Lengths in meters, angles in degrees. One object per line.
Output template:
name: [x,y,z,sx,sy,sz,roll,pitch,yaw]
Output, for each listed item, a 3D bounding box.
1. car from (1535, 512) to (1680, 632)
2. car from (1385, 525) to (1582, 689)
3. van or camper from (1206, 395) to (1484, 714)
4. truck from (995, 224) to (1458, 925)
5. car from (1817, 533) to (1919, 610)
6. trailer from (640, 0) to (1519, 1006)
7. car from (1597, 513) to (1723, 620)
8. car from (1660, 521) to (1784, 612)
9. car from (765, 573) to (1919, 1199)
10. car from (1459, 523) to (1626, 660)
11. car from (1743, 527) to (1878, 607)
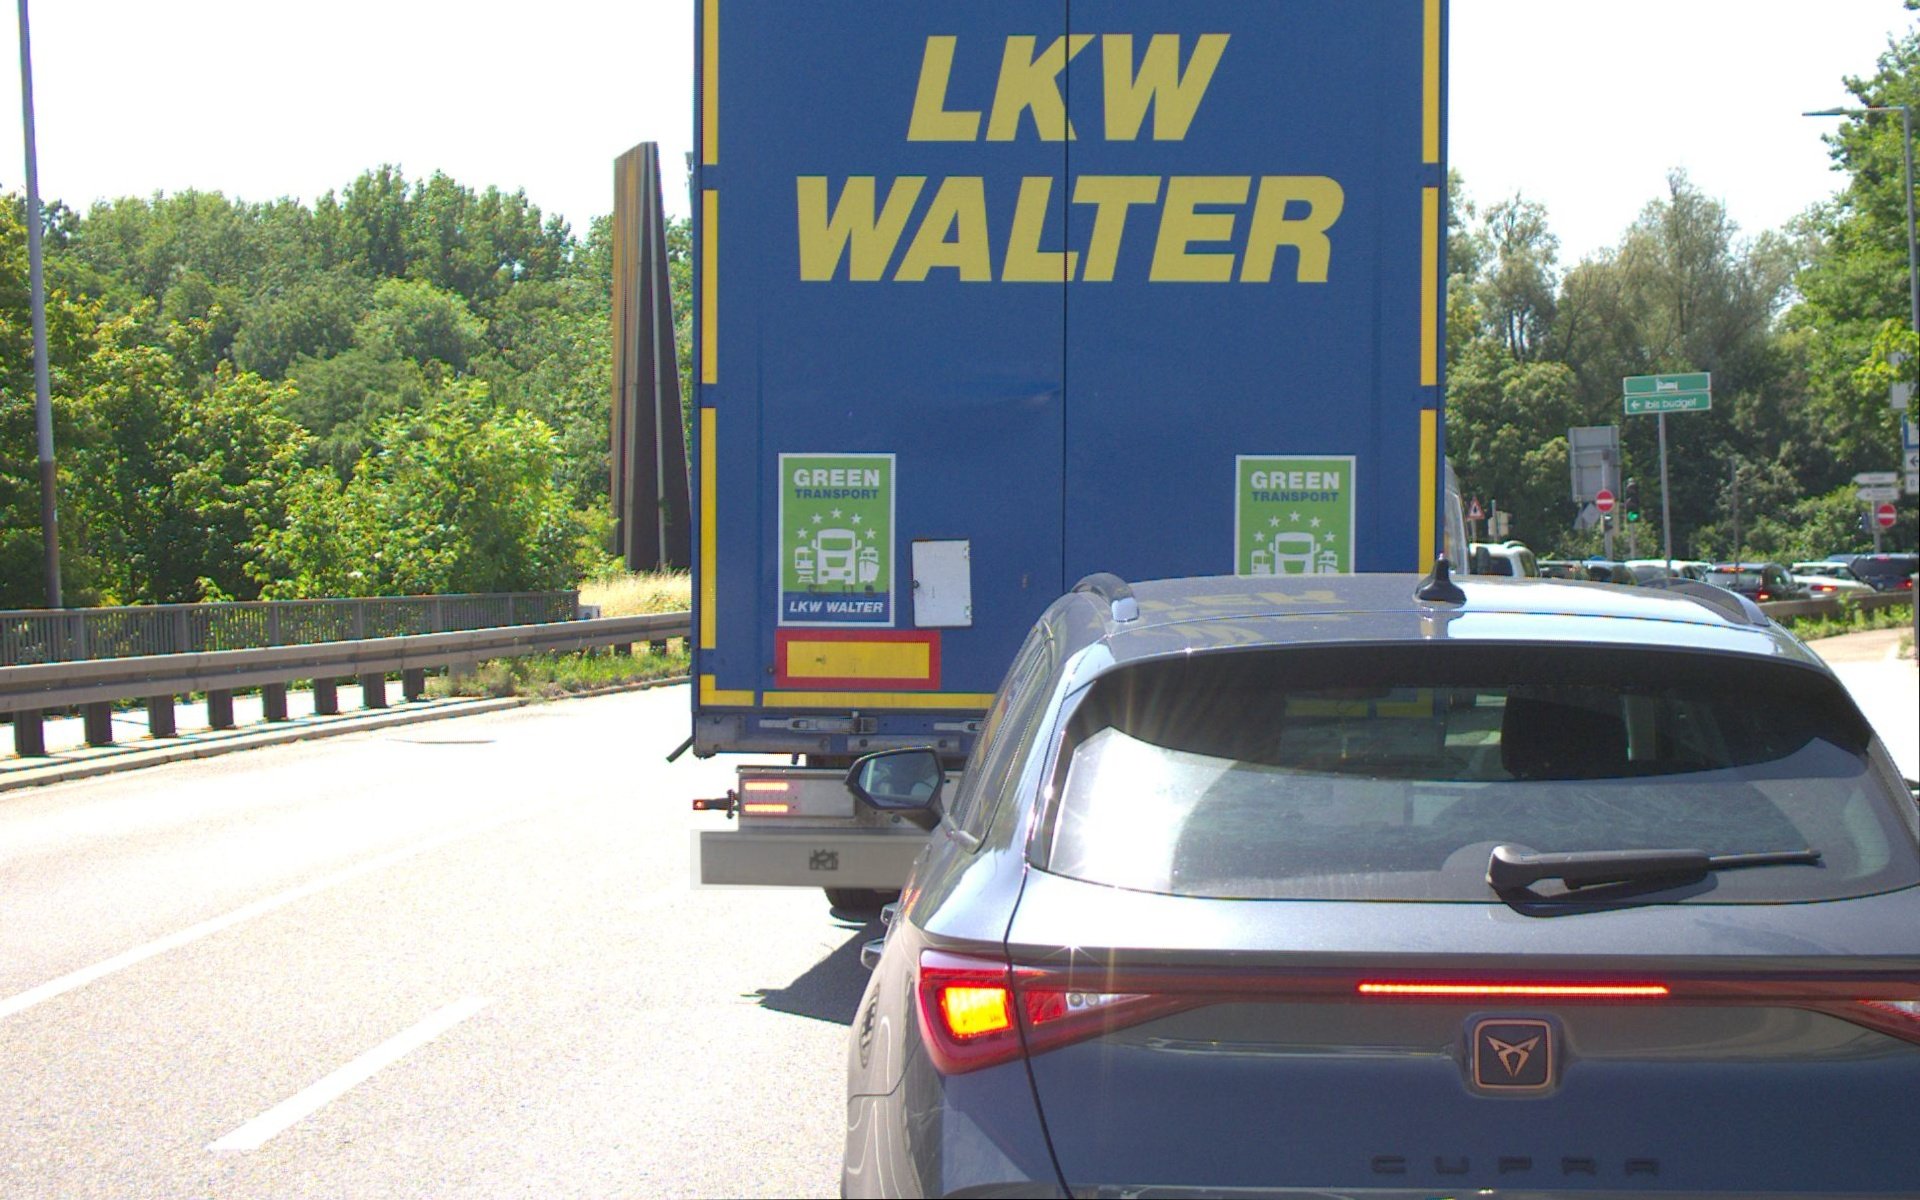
car: [10.384,-0.477,54.959,1.722,1.837,3.996,0,1,19]
car: [6.290,0.037,40.980,1.722,1.837,3.997,0,2,18]
van or camper: [3.878,-0.461,33.598,2.155,2.806,6.384,0,1,11]
truck: [2.091,-0.227,25.033,2.905,4.403,6.554,0,1,7]
car: [21.372,-0.652,80.346,1.688,1.754,3.994,0,0,28]
trailer: [1.148,-0.999,17.542,2.905,4.403,12.430,0,1,7]
car: [12.547,-0.618,61.485,1.722,1.837,3.996,0,1,19]
car: [15.135,-0.648,68.135,1.687,1.754,3.995,0,0,23]
car: [0.675,0.693,5.932,1.677,1.451,3.958,0,1,2]
car: [8.052,-0.155,47.297,1.722,1.796,3.997,0,1,18]
car: [18.438,-0.690,74.405,1.996,1.570,3.994,2,0,26]
